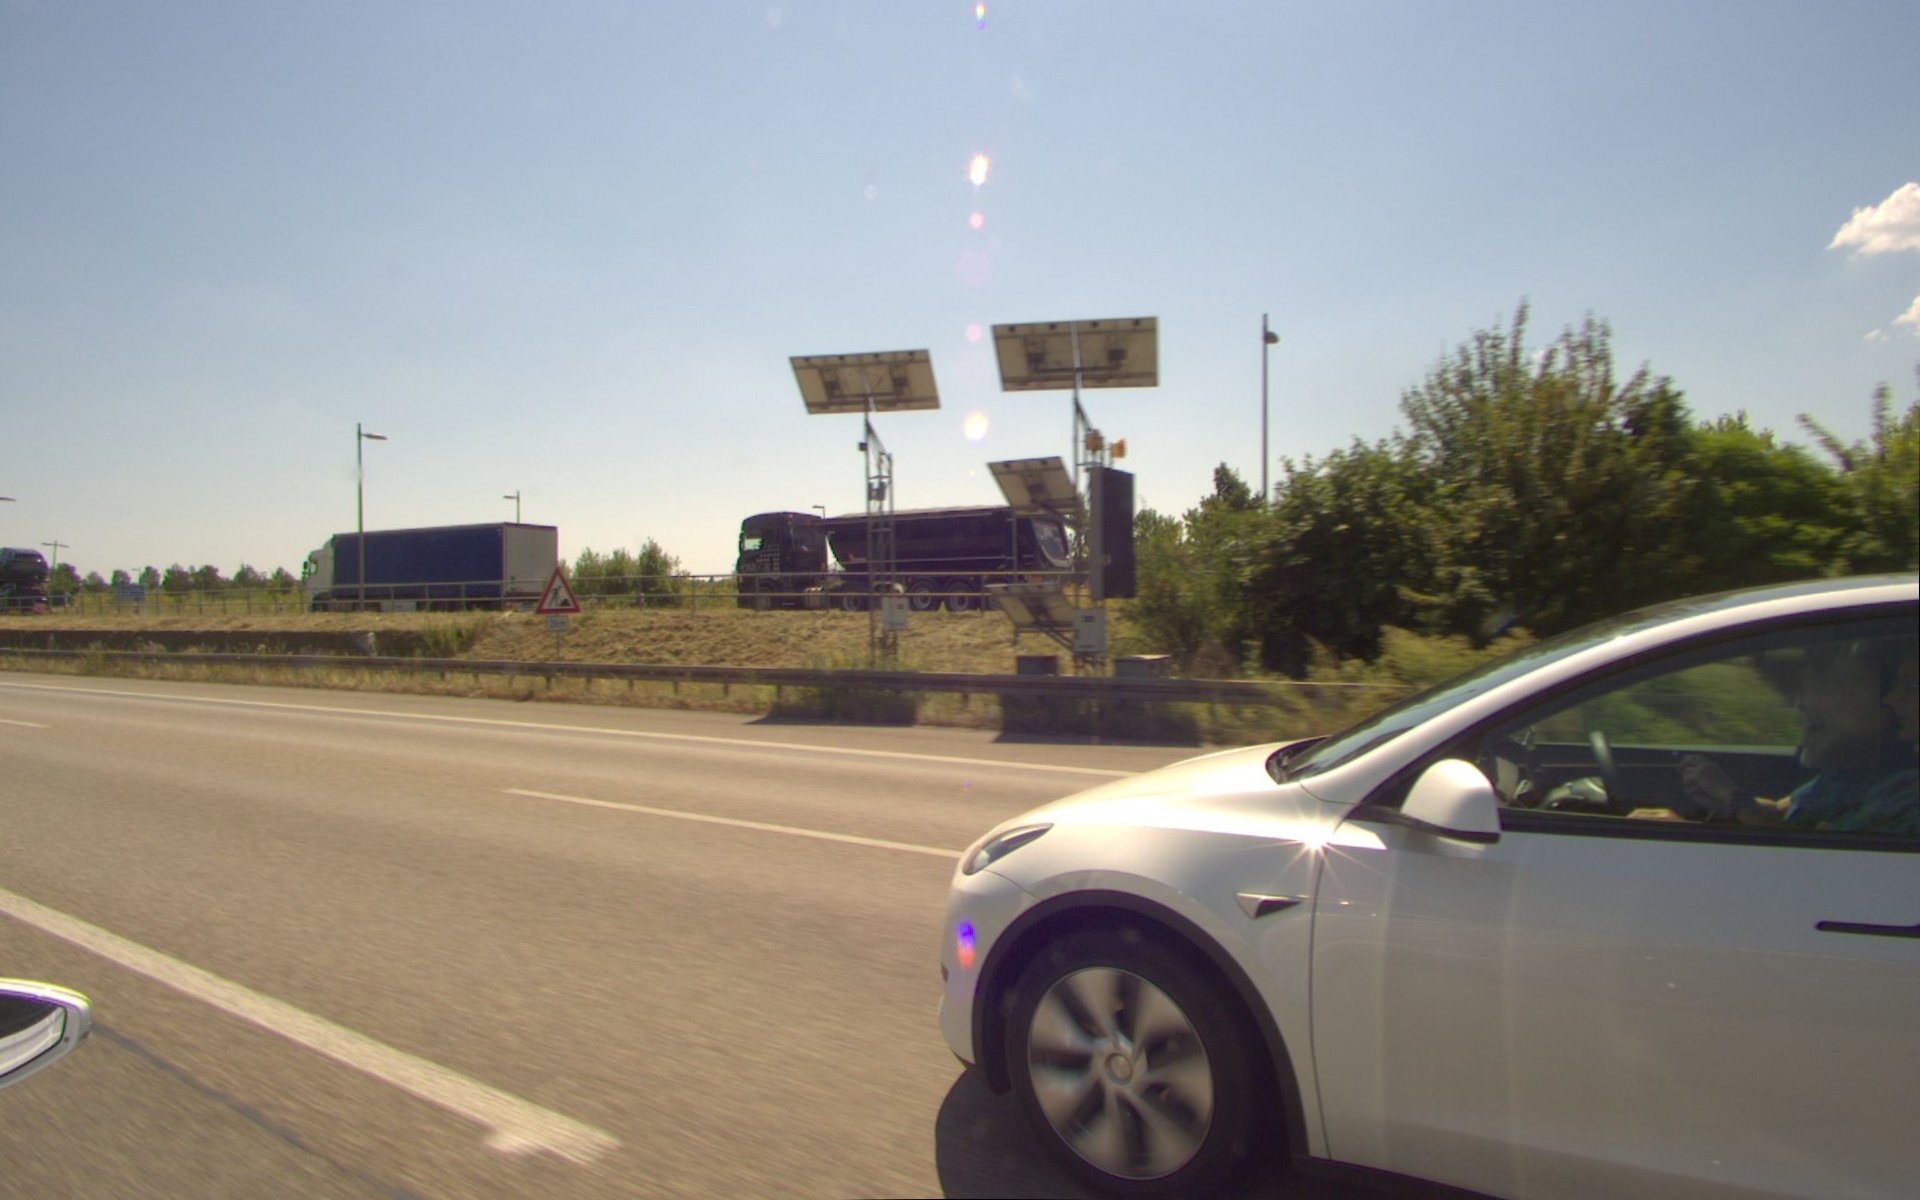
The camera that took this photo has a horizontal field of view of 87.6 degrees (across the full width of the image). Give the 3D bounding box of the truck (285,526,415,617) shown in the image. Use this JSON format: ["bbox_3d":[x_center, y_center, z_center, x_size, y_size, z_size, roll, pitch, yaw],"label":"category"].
[{"bbox_3d":[-30.539,-1.280,50.105,6.306,4.135,3.048,-1,-2,32],"label":"truck"}]

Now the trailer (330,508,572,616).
[{"bbox_3d":[-23.519,-1.461,45.714,14.054,4.135,3.048,-1,-2,32],"label":"trailer"}]

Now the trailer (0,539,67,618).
[{"bbox_3d":[-61.652,-1.092,63.426,18.157,4.312,2.601,-1,-2,32],"label":"trailer"}]

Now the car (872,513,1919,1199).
[{"bbox_3d":[2.595,0.701,2.279,5.519,1.657,1.948,-1,-2,31],"label":"car"}]

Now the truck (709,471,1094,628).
[{"bbox_3d":[-2.175,-1.230,31.981,12.336,4.135,3.783,-1,-2,31],"label":"truck"}]
